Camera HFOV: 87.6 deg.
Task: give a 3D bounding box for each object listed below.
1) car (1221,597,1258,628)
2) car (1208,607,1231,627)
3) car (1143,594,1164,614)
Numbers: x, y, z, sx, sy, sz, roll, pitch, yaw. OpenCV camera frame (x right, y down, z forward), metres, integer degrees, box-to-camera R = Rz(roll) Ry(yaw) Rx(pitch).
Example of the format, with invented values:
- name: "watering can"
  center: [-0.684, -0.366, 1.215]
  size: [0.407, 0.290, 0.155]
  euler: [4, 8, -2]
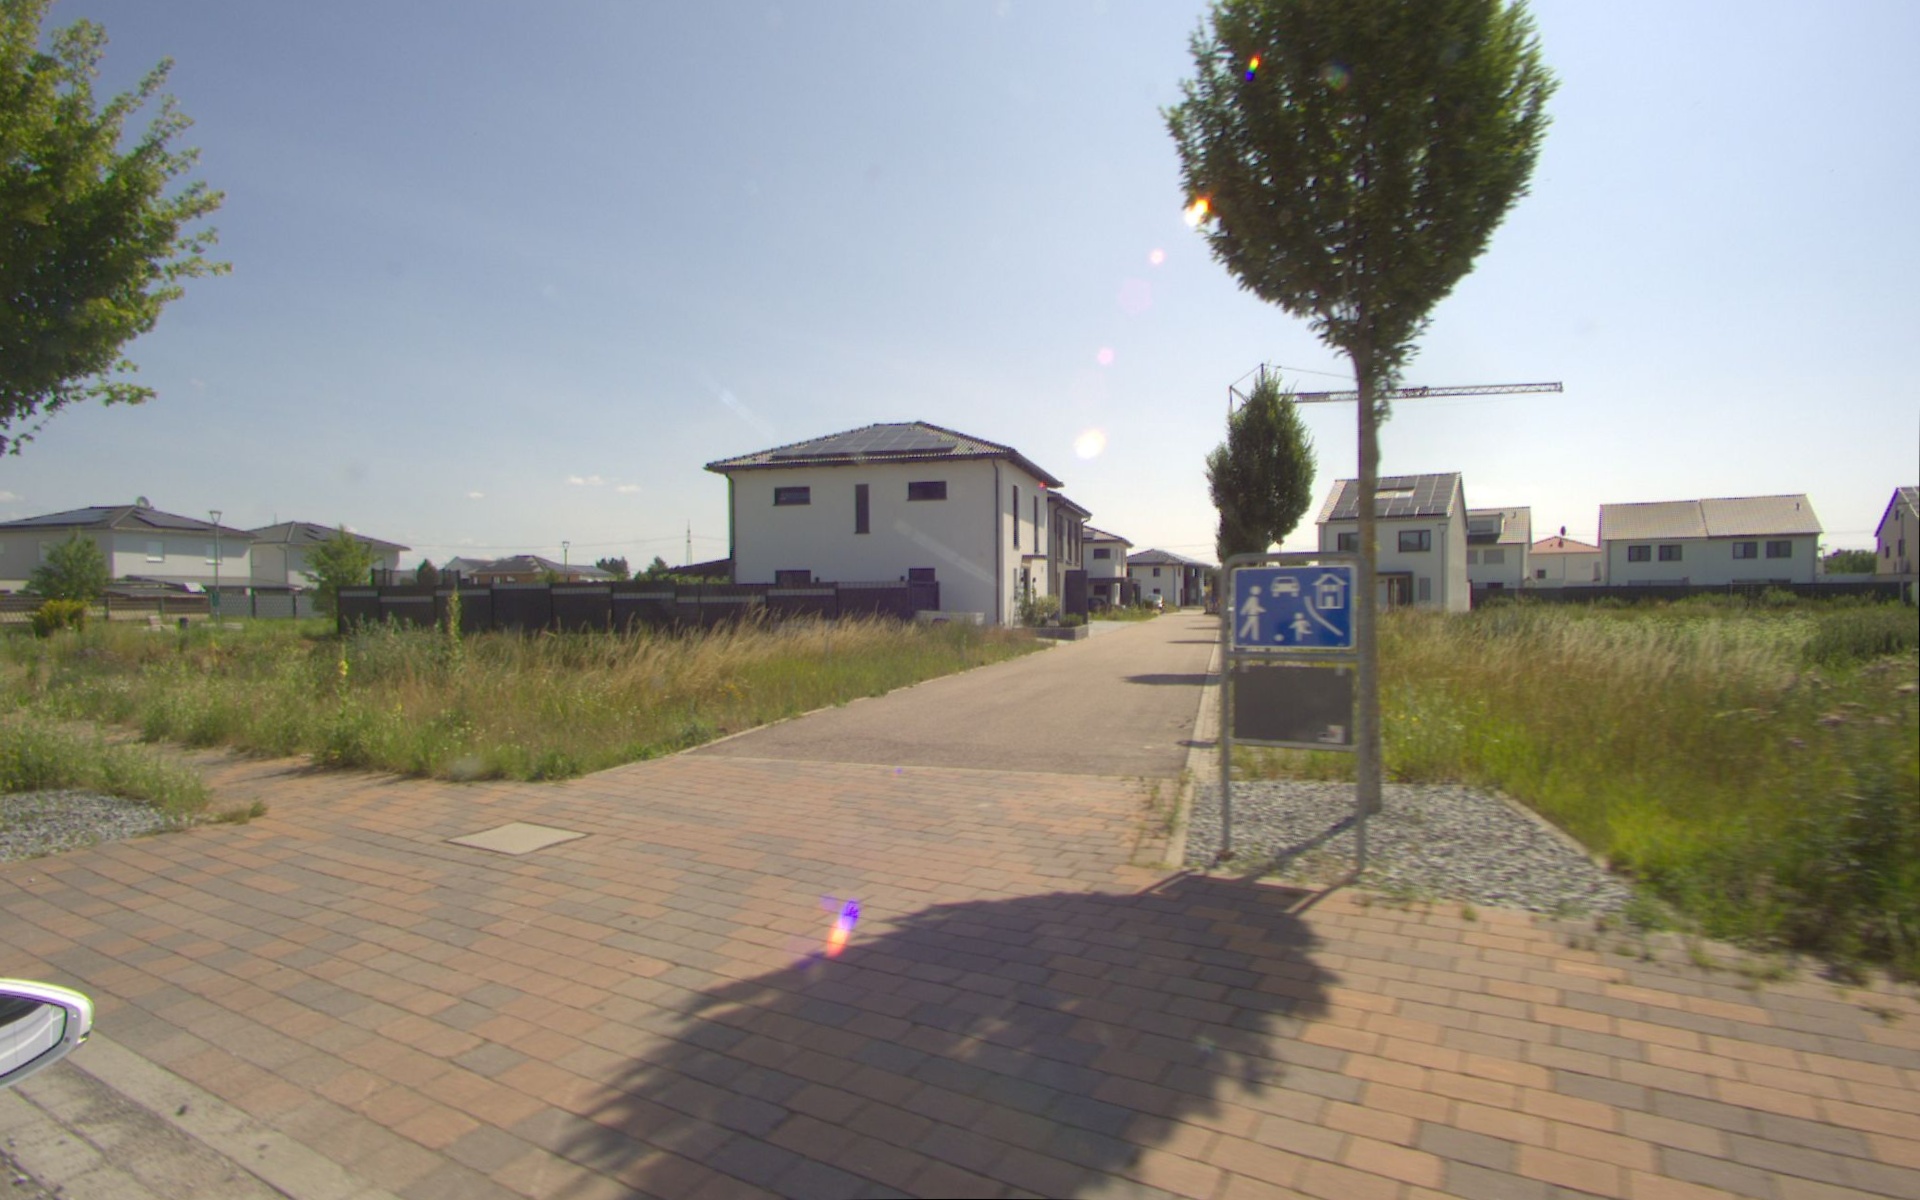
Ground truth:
- name: "car"
  center: [13.733, 0.585, 49.308]
  size: [1.710, 1.461, 3.826]
  euler: [0, 0, 15]
- name: "car"
  center: [19.722, 1.260, 76.078]
  size: [1.710, 1.461, 3.826]
  euler: [0, 0, 15]
- name: "car"
  center: [15.608, 0.350, 80.643]
  size: [1.564, 1.509, 3.369]
  euler: [0, -1, 13]
